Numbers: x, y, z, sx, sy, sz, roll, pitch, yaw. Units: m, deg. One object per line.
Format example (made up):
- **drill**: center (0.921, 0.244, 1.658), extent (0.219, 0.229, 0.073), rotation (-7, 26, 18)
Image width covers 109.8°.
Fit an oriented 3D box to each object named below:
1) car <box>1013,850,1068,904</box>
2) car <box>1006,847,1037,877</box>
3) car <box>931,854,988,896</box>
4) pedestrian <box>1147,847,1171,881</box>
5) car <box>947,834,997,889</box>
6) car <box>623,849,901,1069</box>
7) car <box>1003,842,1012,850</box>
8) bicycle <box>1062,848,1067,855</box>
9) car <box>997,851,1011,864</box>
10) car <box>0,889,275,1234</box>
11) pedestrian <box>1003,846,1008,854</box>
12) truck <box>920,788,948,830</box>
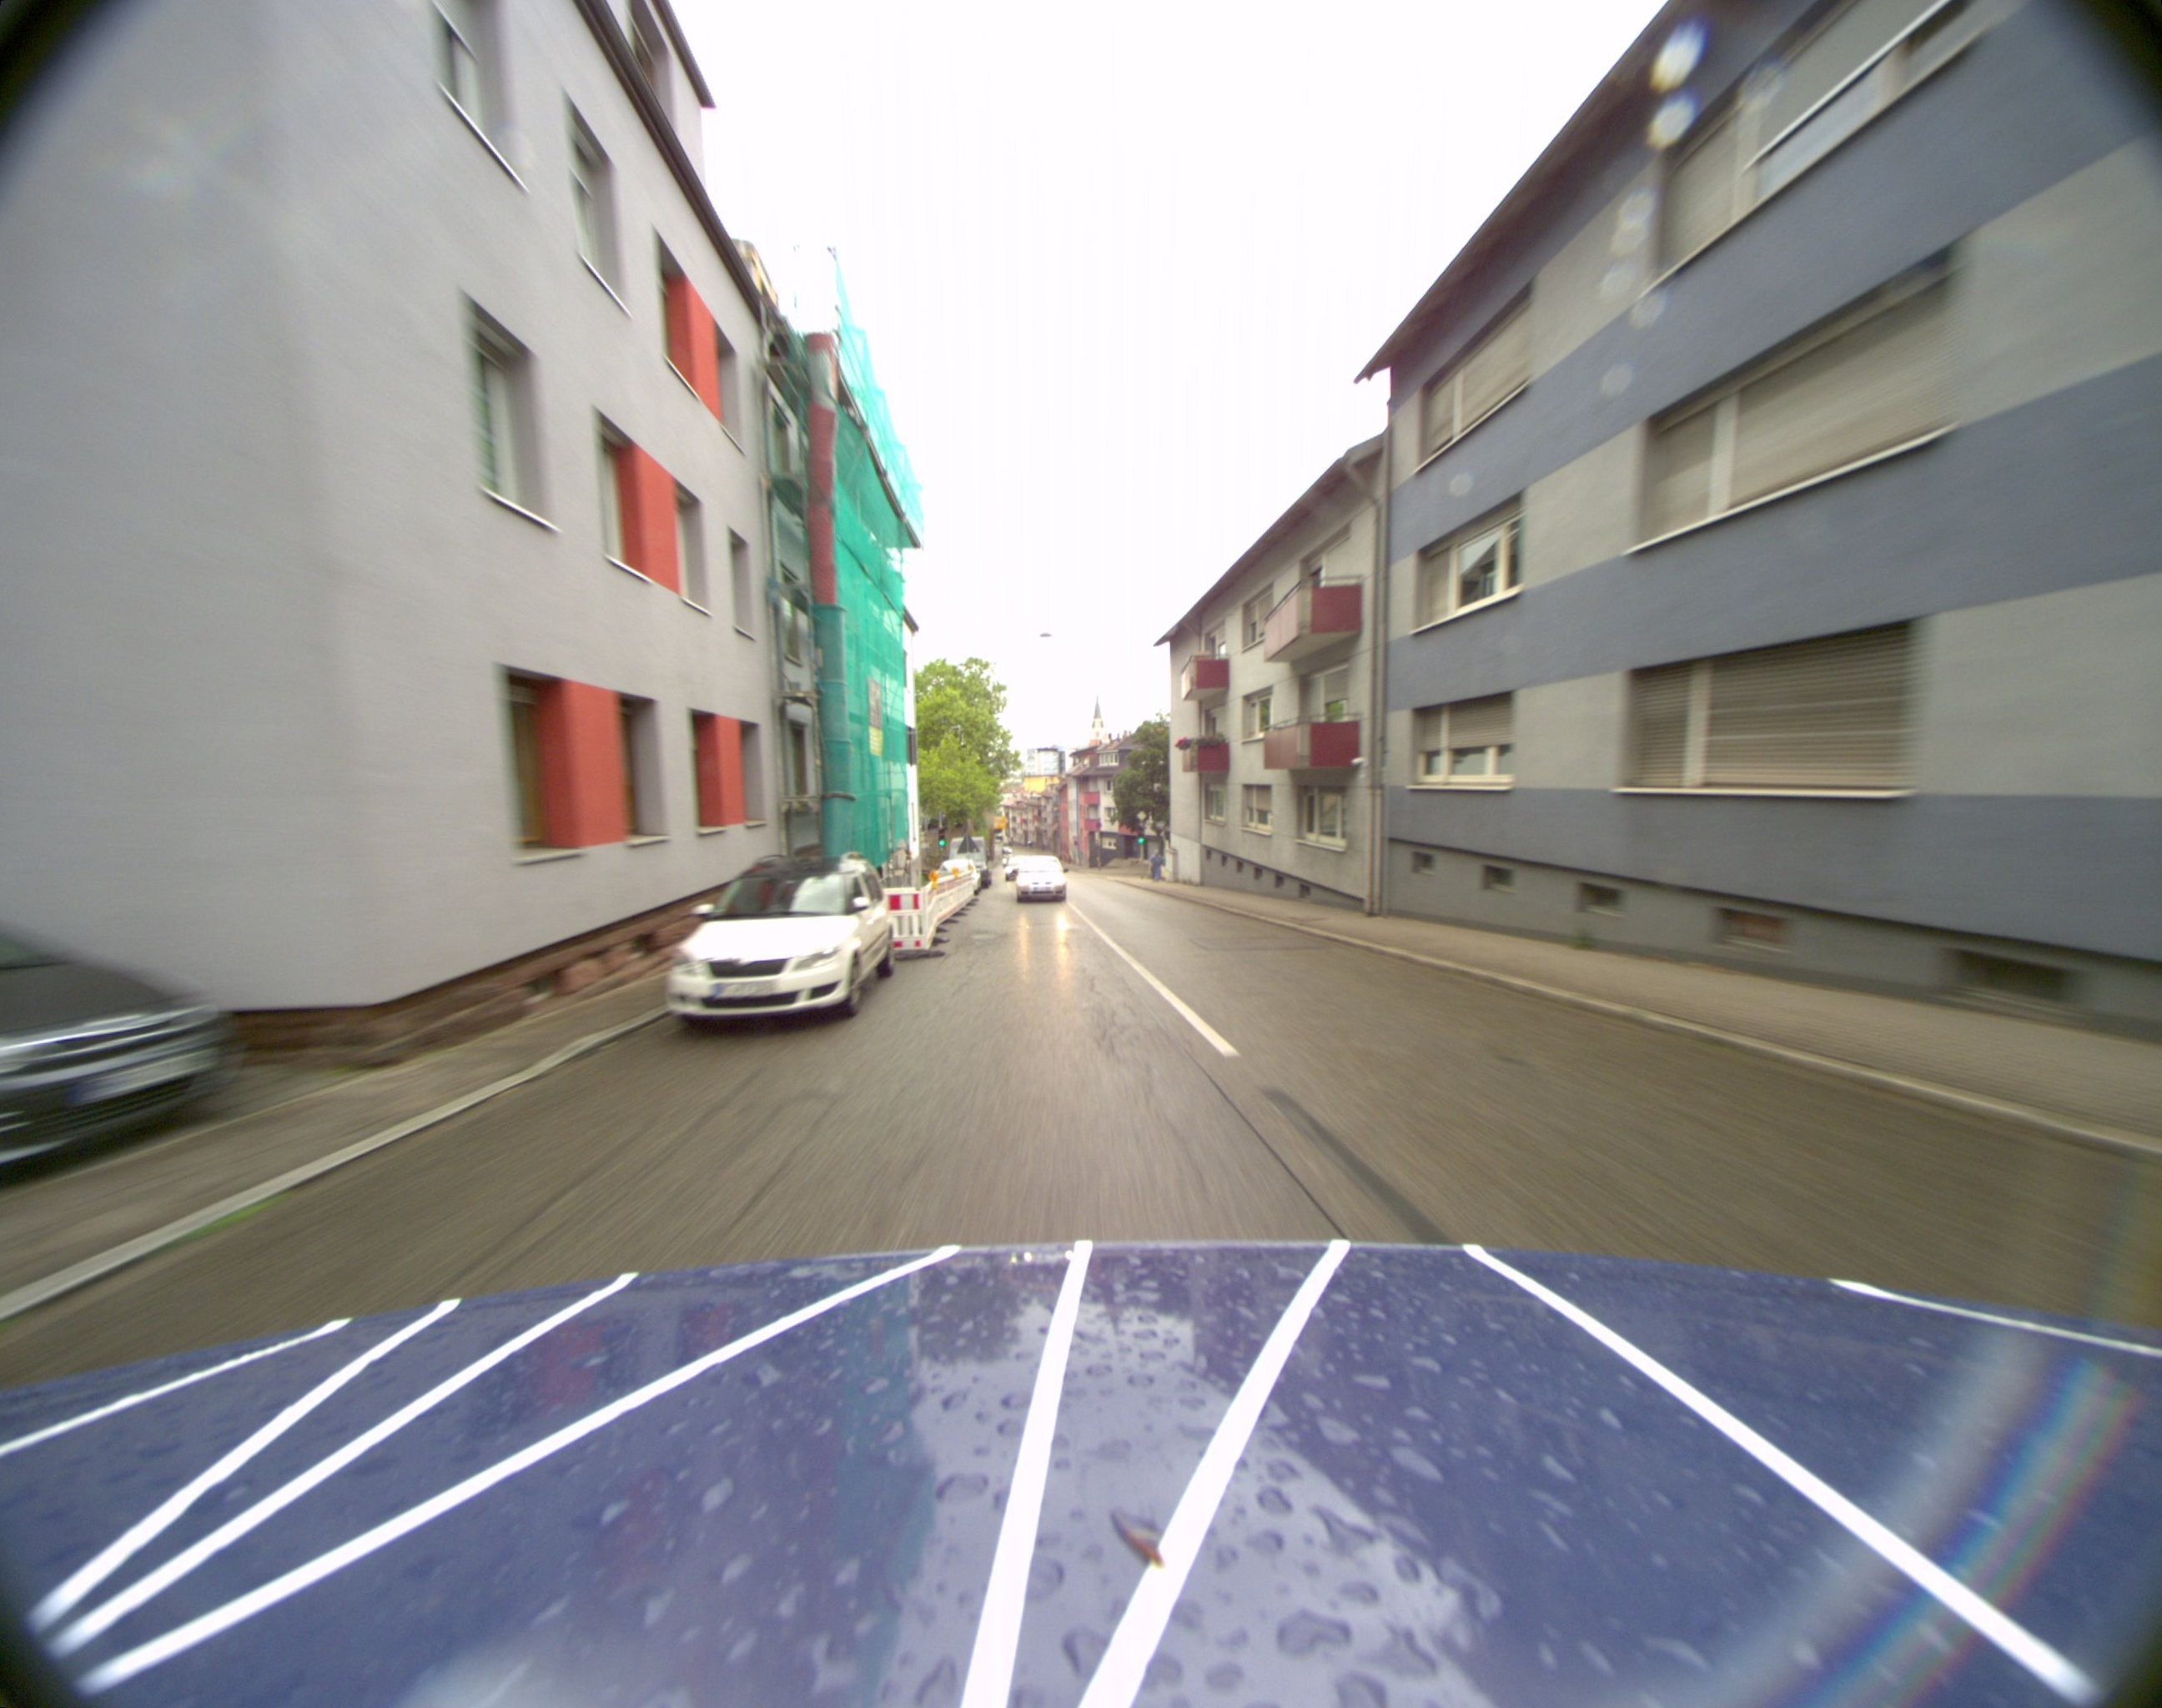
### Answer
- **car**: center (-1.494, 0.753, 26.910), extent (1.720, 1.528, 3.996), rotation (-4, 3, -5)
- **car**: center (-3.695, 0.431, 46.735), extent (1.720, 1.528, 3.996), rotation (-4, 3, -5)
- **car**: center (-5.191, 0.857, 33.013), extent (1.999, 1.503, 4.334), rotation (-3, 1, -5)
- **pedestrian**: center (3.729, 0.472, 36.490), extent (0.872, 1.533, 1.086), rotation (-4, 3, -7)
- **car**: center (-5.451, 0.267, 38.775), extent (1.999, 2.401, 5.831), rotation (-3, 3, -4)
- **car**: center (-3.169, 0.900, 8.458), extent (1.645, 1.752, 3.998), rotation (-4, 0, -6)
- **car**: center (-16.121, -1.709, 166.859), extent (1.638, 1.521, 3.996), rotation (-3, 1, -10)
- **bicycle**: center (-2.861, -0.391, 130.459), extent (0.572, 1.111, 2.038), rotation (-4, 2, -4)
- **car**: center (-9.736, 0.447, 96.620), extent (1.638, 1.521, 3.998), rotation (-3, 1, -5)
- **car**: center (-6.988, 1.034, 3.830), extent (3.814, 1.541, 1.659), rotation (-1, 1, -6)
- **pedestrian**: center (-14.059, -0.711, 141.453), extent (0.872, 1.532, 1.087), rotation (-4, 0, -7)
- **truck**: center (-16.110, -5.030, 83.290), extent (2.757, 3.296, 11.197), rotation (0, 10, -11)
